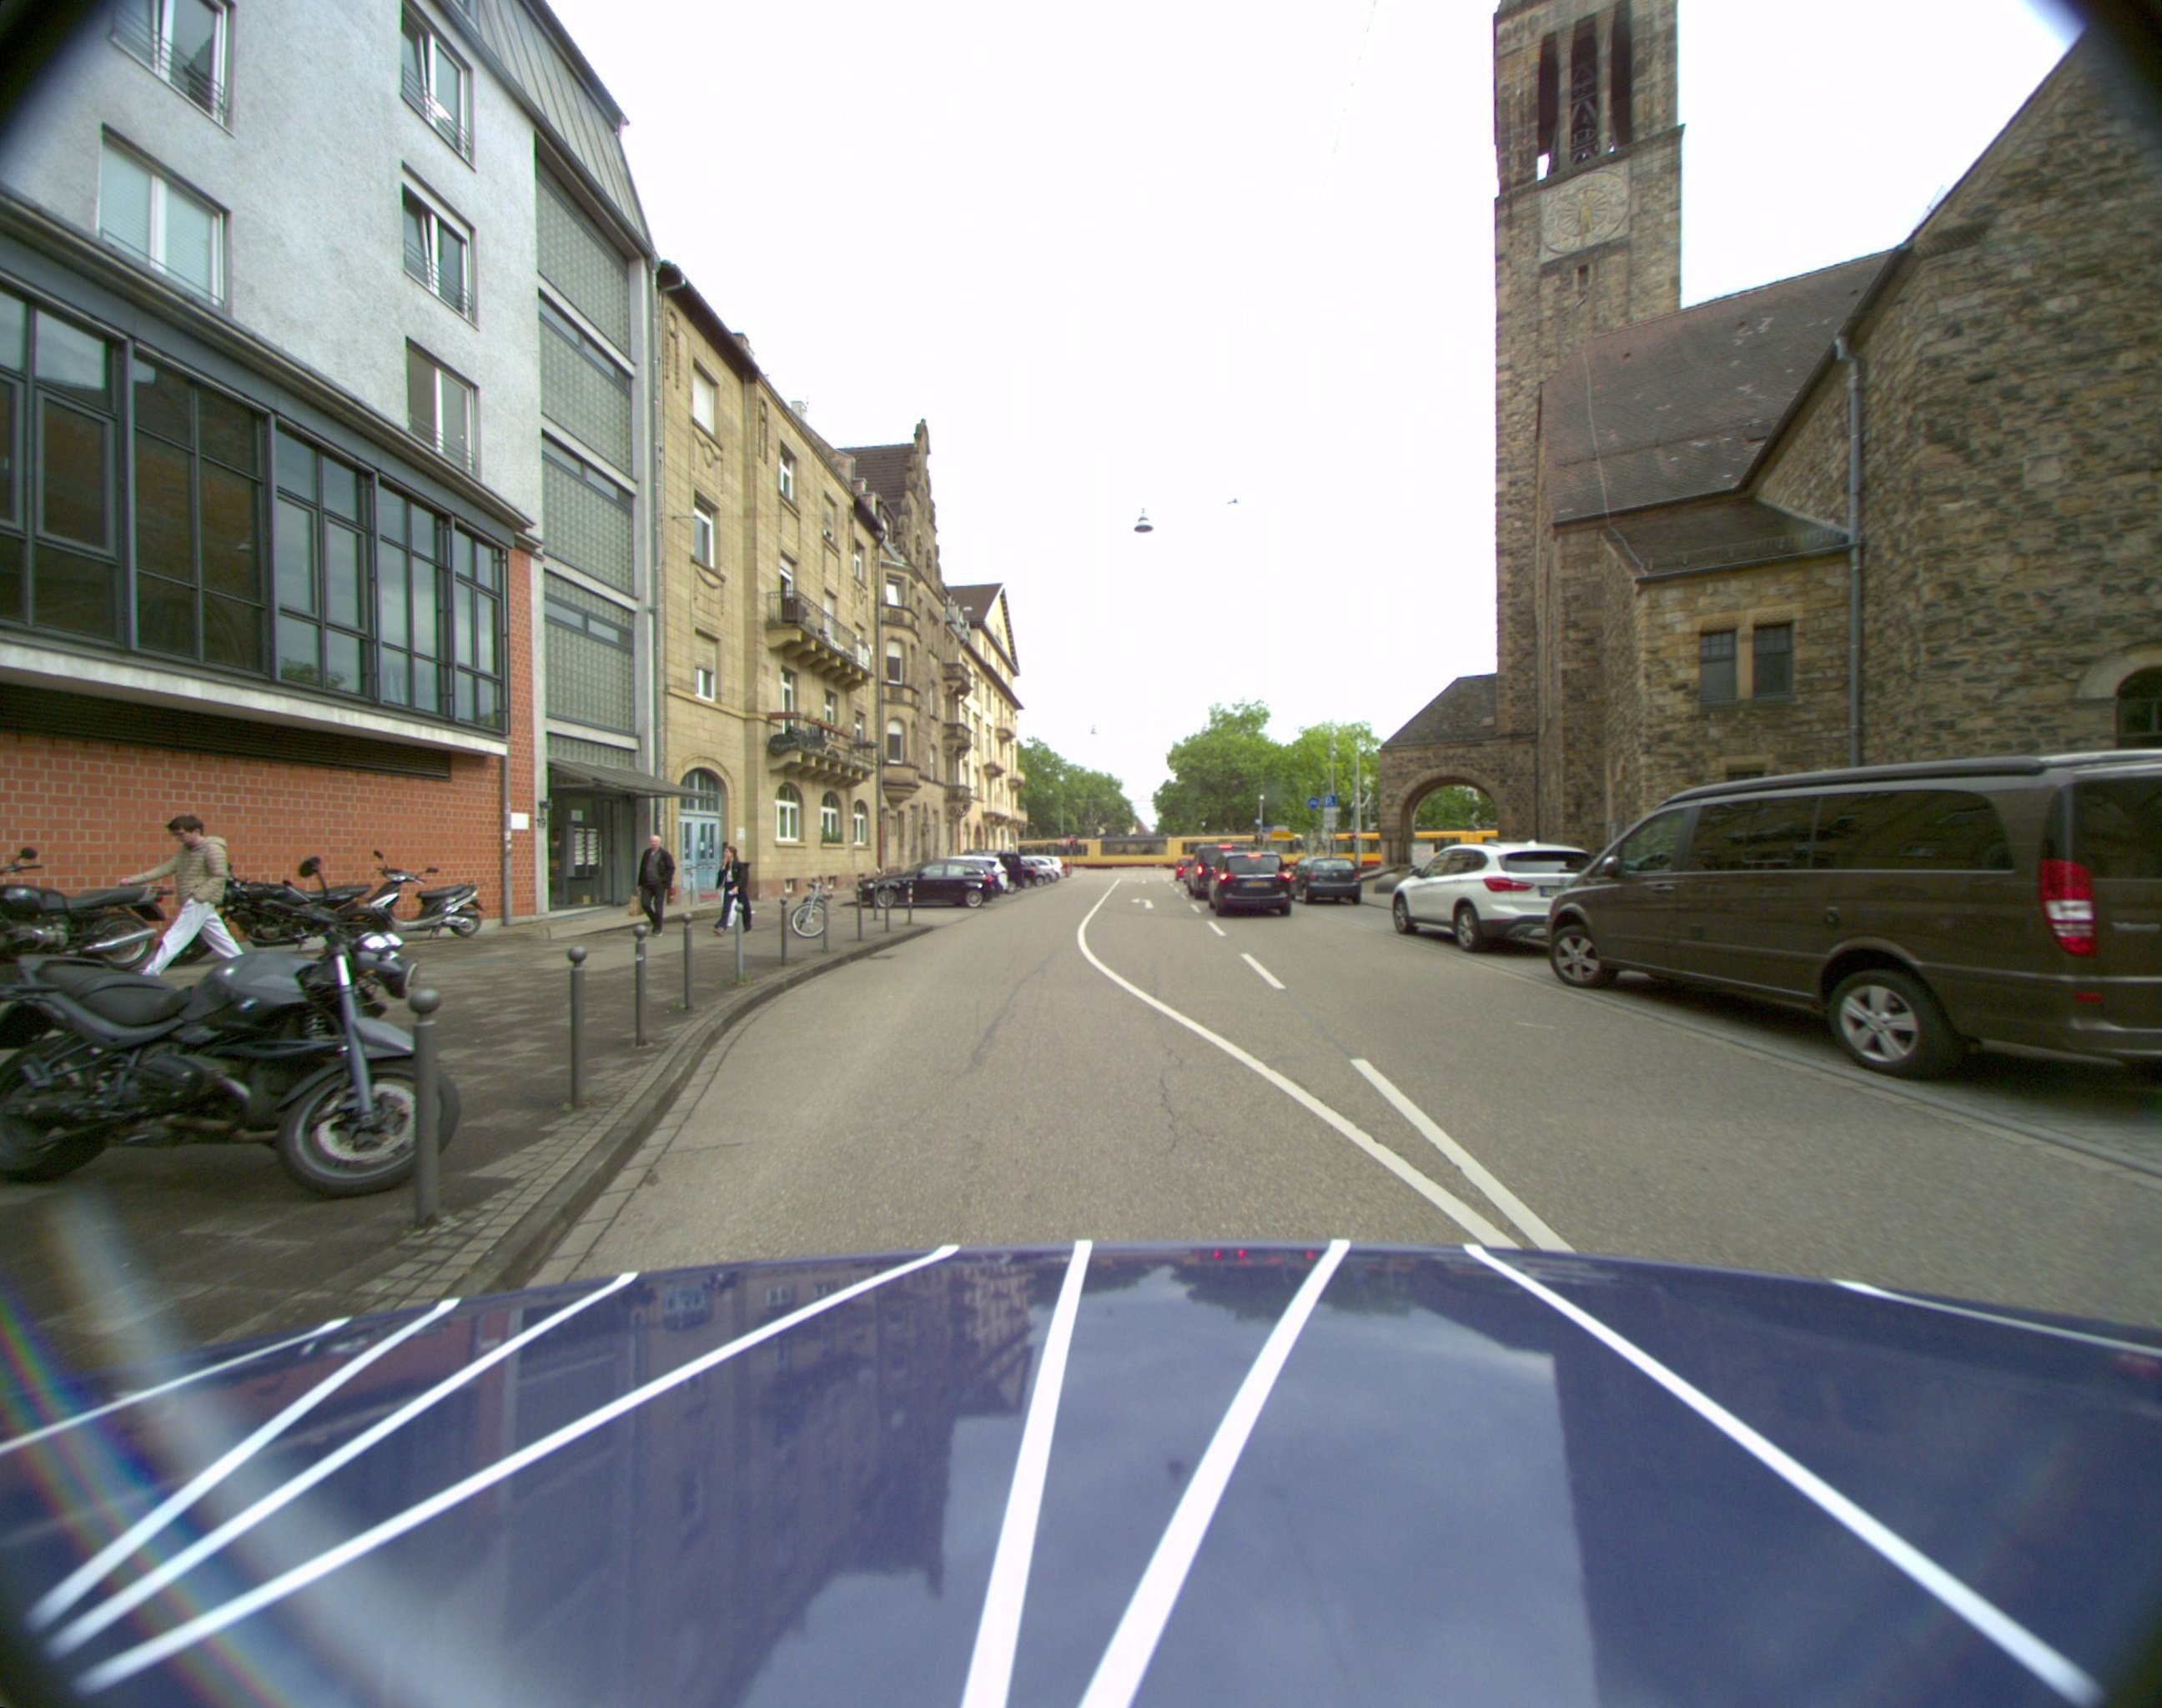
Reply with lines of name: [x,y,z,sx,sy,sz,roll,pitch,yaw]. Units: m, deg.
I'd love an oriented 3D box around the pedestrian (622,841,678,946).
pedestrian: [-7.475,0.672,13.197,0.644,1.761,0.541,2,2,3]

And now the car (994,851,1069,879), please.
car: [-3.070,0.687,47.507,4.232,1.673,1.911,1,1,-29]

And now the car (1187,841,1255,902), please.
car: [4.910,0.571,27.305,1.916,1.943,5.285,-1,0,5]

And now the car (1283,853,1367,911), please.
car: [7.463,0.800,23.587,1.650,1.500,3.772,-2,1,5]

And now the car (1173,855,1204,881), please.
car: [6.659,0.842,47.282,1.652,1.519,3.895,2,0,5]

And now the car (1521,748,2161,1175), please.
car: [5.897,0.493,6.096,2.018,2.002,5.184,-1,0,4]

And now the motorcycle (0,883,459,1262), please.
motorcycle: [-4.152,0.876,3.375,2.139,1.421,0.770,1,2,1]

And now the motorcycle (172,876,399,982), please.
motorcycle: [-9.924,0.879,9.575,0.601,1.137,1.886,1,1,30]

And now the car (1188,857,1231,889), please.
car: [5.786,0.820,34.537,1.708,1.279,4.043,2,1,7]

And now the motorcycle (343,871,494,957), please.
motorcycle: [-9.875,0.860,11.392,0.601,1.186,1.570,1,-1,27]

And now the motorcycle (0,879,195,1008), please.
motorcycle: [-10.305,0.860,7.495,0.602,1.137,2.071,1,1,5]

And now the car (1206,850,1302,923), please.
car: [4.392,0.766,19.985,1.849,1.674,4.550,-1,0,5]

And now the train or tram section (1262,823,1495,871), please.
train or tram section: [27.220,-0.637,70.835,19.892,4.070,3.634,0,2,31]

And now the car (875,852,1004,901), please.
car: [-4.901,0.773,26.274,4.006,1.524,1.928,3,-1,-25]

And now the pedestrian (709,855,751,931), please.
pedestrian: [-7.173,0.778,15.558,0.519,1.502,0.716,1,2,1]

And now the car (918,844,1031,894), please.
car: [-4.442,0.646,31.934,4.292,1.895,1.874,3,-1,-37]

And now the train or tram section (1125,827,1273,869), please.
train or tram section: [12.174,-0.604,79.706,14.997,4.070,3.587,0,2,31]

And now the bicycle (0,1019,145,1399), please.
bicycle: [-4.236,1.093,2.317,2.014,1.056,0.612,1,2,1]

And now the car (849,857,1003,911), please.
car: [-4.727,0.921,23.288,4.268,1.469,1.681,3,-1,-28]

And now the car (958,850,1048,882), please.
car: [-4.151,0.669,40.805,4.474,1.564,1.742,3,-1,-34]

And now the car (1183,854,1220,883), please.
car: [6.472,0.750,41.194,1.605,1.448,3.718,2,1,4]

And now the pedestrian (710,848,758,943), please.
pedestrian: [-6.268,0.723,13.736,0.519,1.653,0.716,1,2,1]

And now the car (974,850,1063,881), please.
car: [-3.614,0.694,44.185,4.761,1.675,1.931,1,1,-32]

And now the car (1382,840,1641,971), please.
car: [6.450,0.686,12.065,1.847,1.678,4.434,-1,0,4]

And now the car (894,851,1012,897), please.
car: [-4.822,0.766,28.846,4.009,1.592,1.761,3,-1,-35]

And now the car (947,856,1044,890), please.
car: [-4.233,0.921,37.917,4.474,1.543,1.847,1,0,-34]

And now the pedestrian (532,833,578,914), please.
pedestrian: [-11.457,0.412,16.563,0.541,1.734,0.568,-1,2,4]

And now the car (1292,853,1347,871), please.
car: [19.506,0.644,62.243,3.989,1.387,1.884,-1,0,30]

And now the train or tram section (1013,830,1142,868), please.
train or tram section: [-0.626,-0.606,87.328,14.997,4.070,3.661,0,2,31]

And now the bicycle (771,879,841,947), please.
bicycle: [-5.133,1.054,14.115,0.731,1.098,1.732,1,1,-37]

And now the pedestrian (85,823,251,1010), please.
pedestrian: [-9.078,0.594,7.594,0.631,1.743,0.811,3,1,1]
